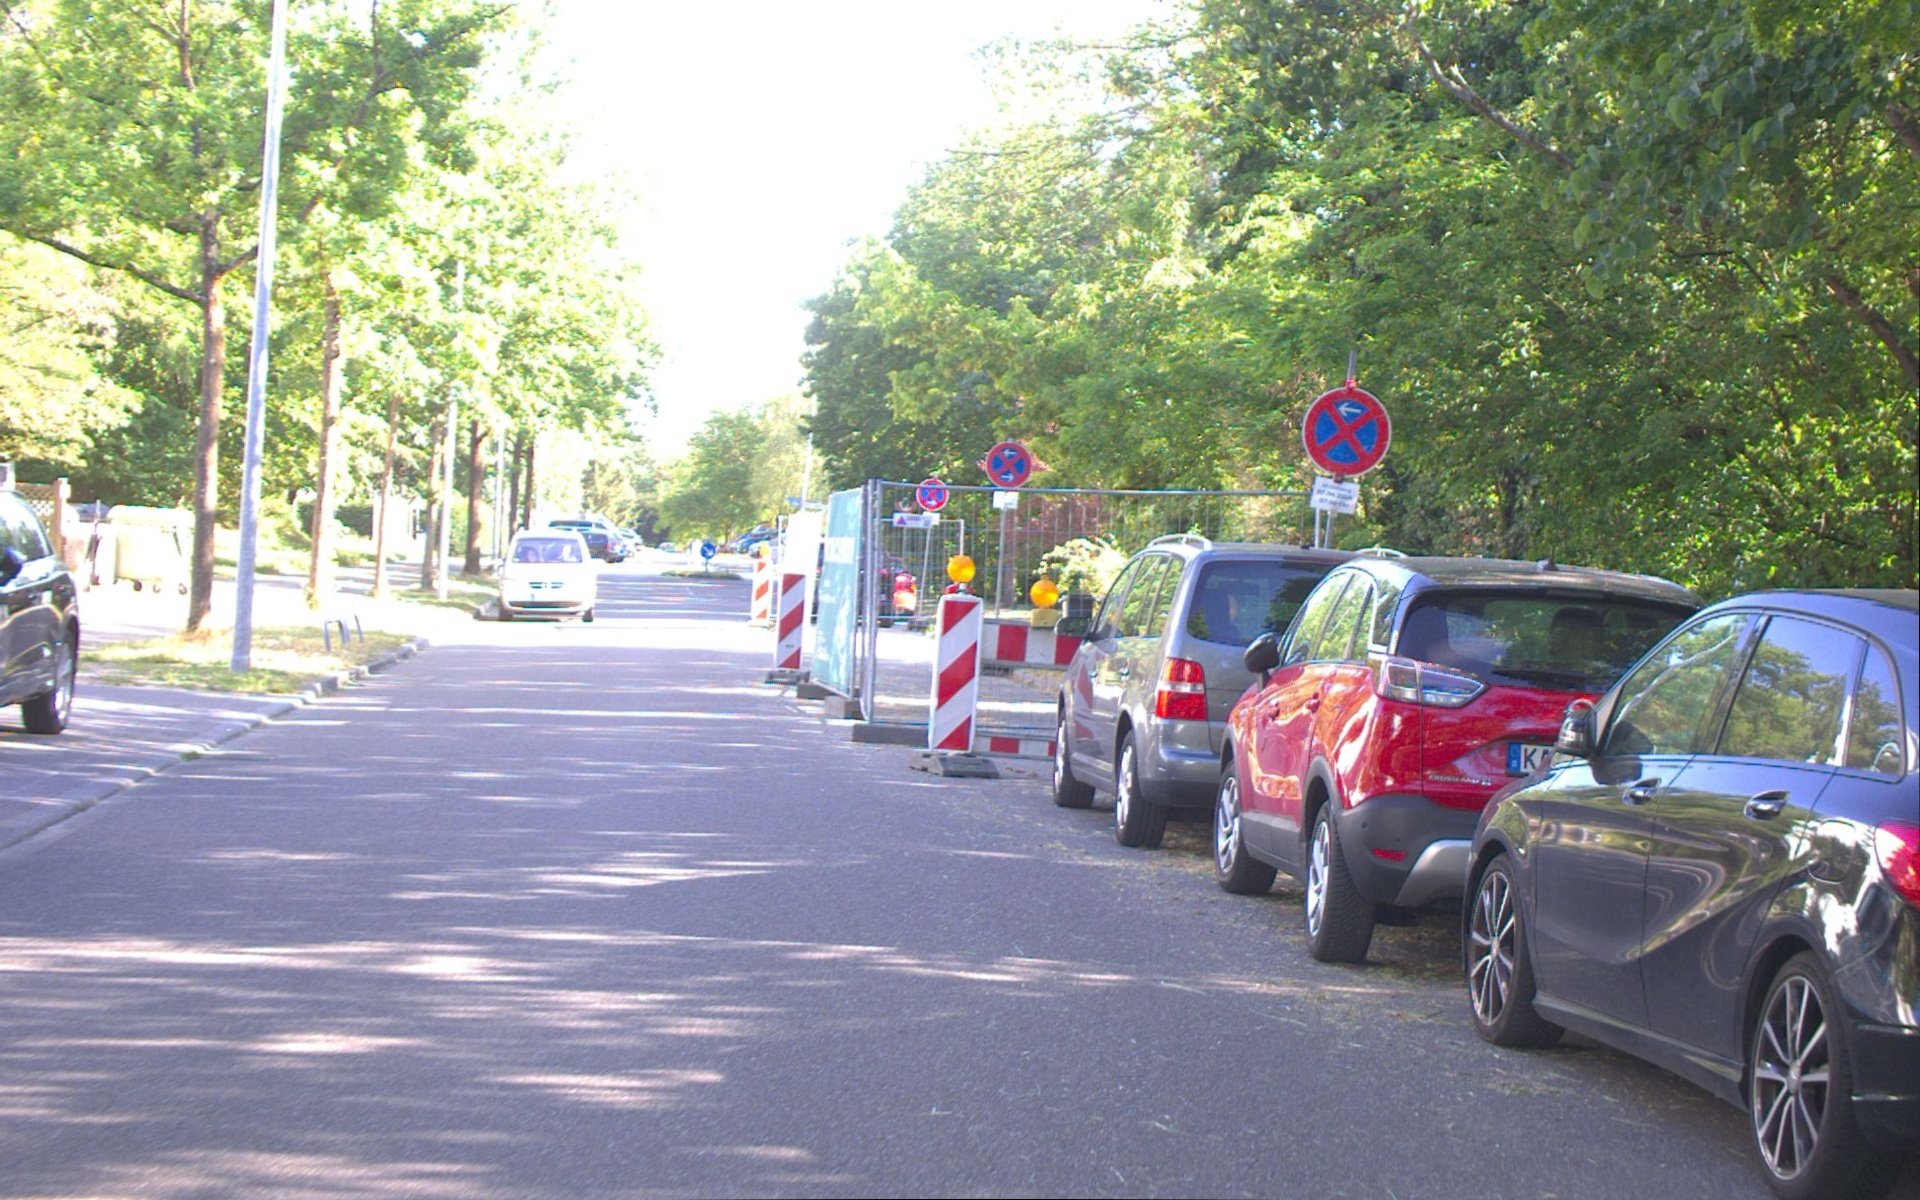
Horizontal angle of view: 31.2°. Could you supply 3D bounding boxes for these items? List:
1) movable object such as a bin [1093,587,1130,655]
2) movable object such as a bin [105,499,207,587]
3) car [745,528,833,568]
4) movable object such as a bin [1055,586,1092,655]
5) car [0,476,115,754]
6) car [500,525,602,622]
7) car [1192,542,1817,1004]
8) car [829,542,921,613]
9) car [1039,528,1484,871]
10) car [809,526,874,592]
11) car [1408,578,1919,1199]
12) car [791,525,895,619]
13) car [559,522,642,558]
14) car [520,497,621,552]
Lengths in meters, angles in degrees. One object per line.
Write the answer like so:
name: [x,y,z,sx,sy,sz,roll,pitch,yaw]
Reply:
movable object such as a bin: [1.941,0.266,44.049,0.413,0.867,0.484,1,1,-4]
movable object such as a bin: [-13.658,-0.972,58.434,1.270,1.430,1.181,2,1,12]
car: [-7.905,-2.416,159.291,3.839,1.571,1.688,4,1,2]
movable object such as a bin: [1.453,0.259,43.997,0.413,0.867,0.484,1,1,-4]
car: [-6.521,0.003,21.195,1.775,1.616,4.221,4,1,-5]
car: [-7.325,-0.505,61.818,1.659,1.590,4.009,3,1,-5]
car: [2.118,0.600,14.524,1.678,1.568,4.067,4,1,-3]
car: [-1.868,-0.509,74.362,1.661,1.371,4.156,4,1,-5]
car: [1.559,0.457,19.263,1.678,1.616,4.138,4,1,-5]
car: [-3.423,-1.191,98.878,1.623,1.767,3.669,4,1,-4]
car: [2.685,0.779,9.799,1.711,1.504,4.151,4,1,-7]
car: [-2.267,-0.566,67.625,1.810,1.645,4.421,4,1,0]
car: [-18.750,-3.136,179.427,4.106,1.571,1.959,4,1,-2]
car: [-21.339,-4.120,188.204,5.198,2.612,2.294,4,1,-9]
